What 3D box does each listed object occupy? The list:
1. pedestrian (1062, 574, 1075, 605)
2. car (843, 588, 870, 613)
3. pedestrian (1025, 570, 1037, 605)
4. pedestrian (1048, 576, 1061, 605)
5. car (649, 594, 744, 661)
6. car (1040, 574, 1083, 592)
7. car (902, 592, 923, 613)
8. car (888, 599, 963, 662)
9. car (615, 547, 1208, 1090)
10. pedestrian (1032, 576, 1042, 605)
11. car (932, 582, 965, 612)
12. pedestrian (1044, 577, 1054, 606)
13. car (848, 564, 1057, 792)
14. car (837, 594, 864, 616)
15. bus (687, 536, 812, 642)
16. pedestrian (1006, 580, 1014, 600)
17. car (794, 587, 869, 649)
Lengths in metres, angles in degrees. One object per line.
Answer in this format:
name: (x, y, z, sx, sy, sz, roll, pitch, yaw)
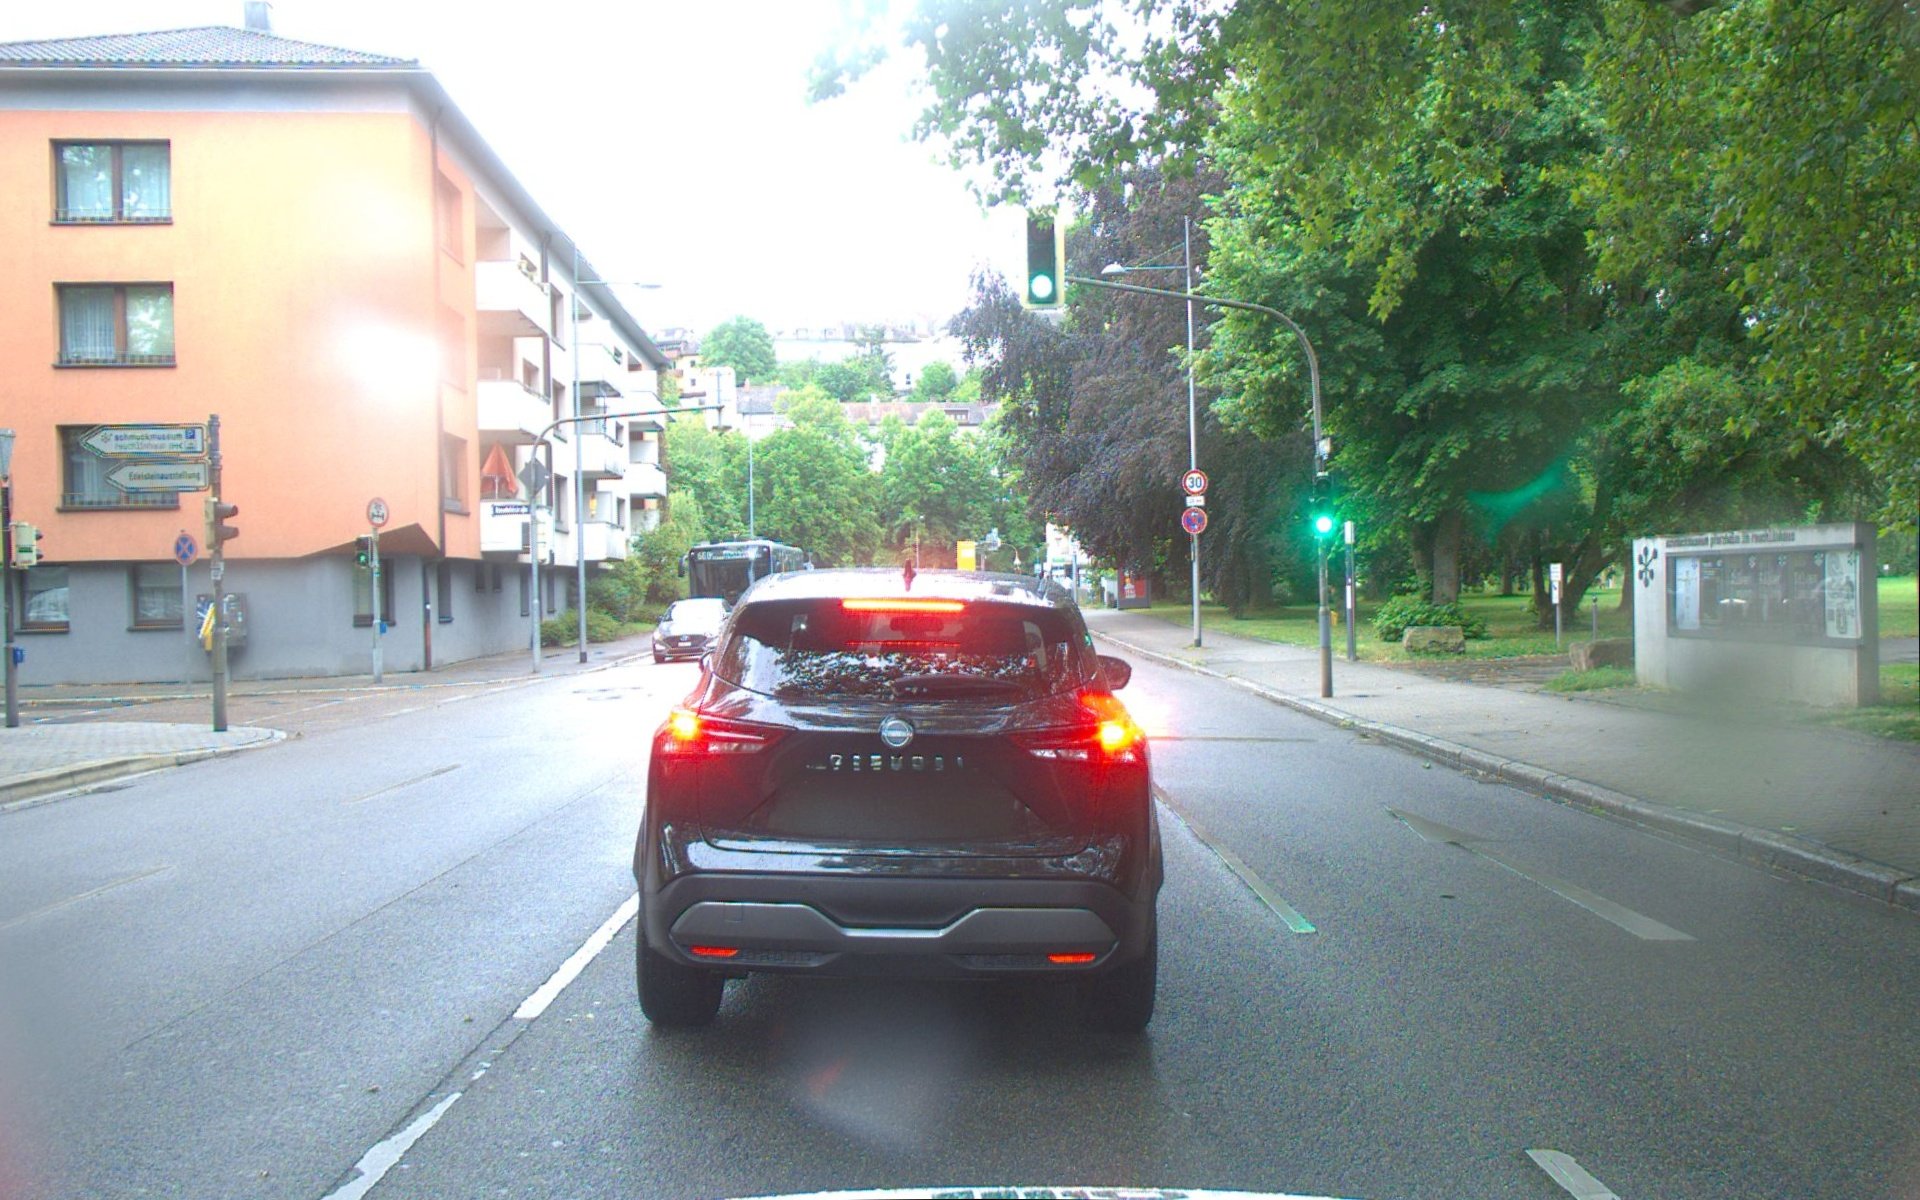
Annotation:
pedestrian: (6.374, -0.605, 97.291, 0.606, 1.810, 0.778, -2, 0, -1)
car: (-7.393, 0.011, 118.341, 1.714, 1.662, 3.634, -2, 1, 0)
pedestrian: (4.679, -0.812, 108.308, 0.752, 2.222, 0.711, 1, -1, 2)
pedestrian: (5.557, -0.536, 97.538, 0.685, 1.680, 0.628, 1, -1, 0)
car: (-6.453, 0.639, 40.915, 1.772, 1.441, 4.029, -3, 1, -2)
car: (10.088, -1.689, 164.615, 3.916, 1.713, 1.995, -2, 0, -11)
car: (-4.689, 0.246, 163.792, 1.953, 2.049, 3.999, 1, 0, -1)
car: (-0.888, 0.727, 41.088, 1.772, 1.442, 4.029, 0, 0, -2)
car: (-0.171, 0.672, 7.008, 1.769, 1.618, 3.999, 1, 0, -1)
pedestrian: (4.541, -0.553, 97.584, 0.533, 1.680, 0.490, 1, -1, 0)
car: (-0.568, -0.156, 83.162, 1.591, 1.439, 3.454, -2, 0, 0)
pedestrian: (5.191, -0.473, 96.162, 0.504, 1.684, 0.550, 1, -1, -1)
car: (-0.029, 0.602, 14.905, 1.588, 1.738, 3.771, -2, 0, 1)
car: (-7.204, 0.298, 109.165, 1.643, 1.318, 3.750, -3, 1, -2)
bus: (-6.691, -0.324, 54.318, 2.710, 3.026, 11.779, -1, 0, -1)
pedestrian: (5.250, -1.039, 173.160, 0.684, 2.049, 0.582, -2, 0, -1)
car: (-3.199, 0.426, 41.724, 1.591, 1.439, 3.454, -2, 0, 0)
